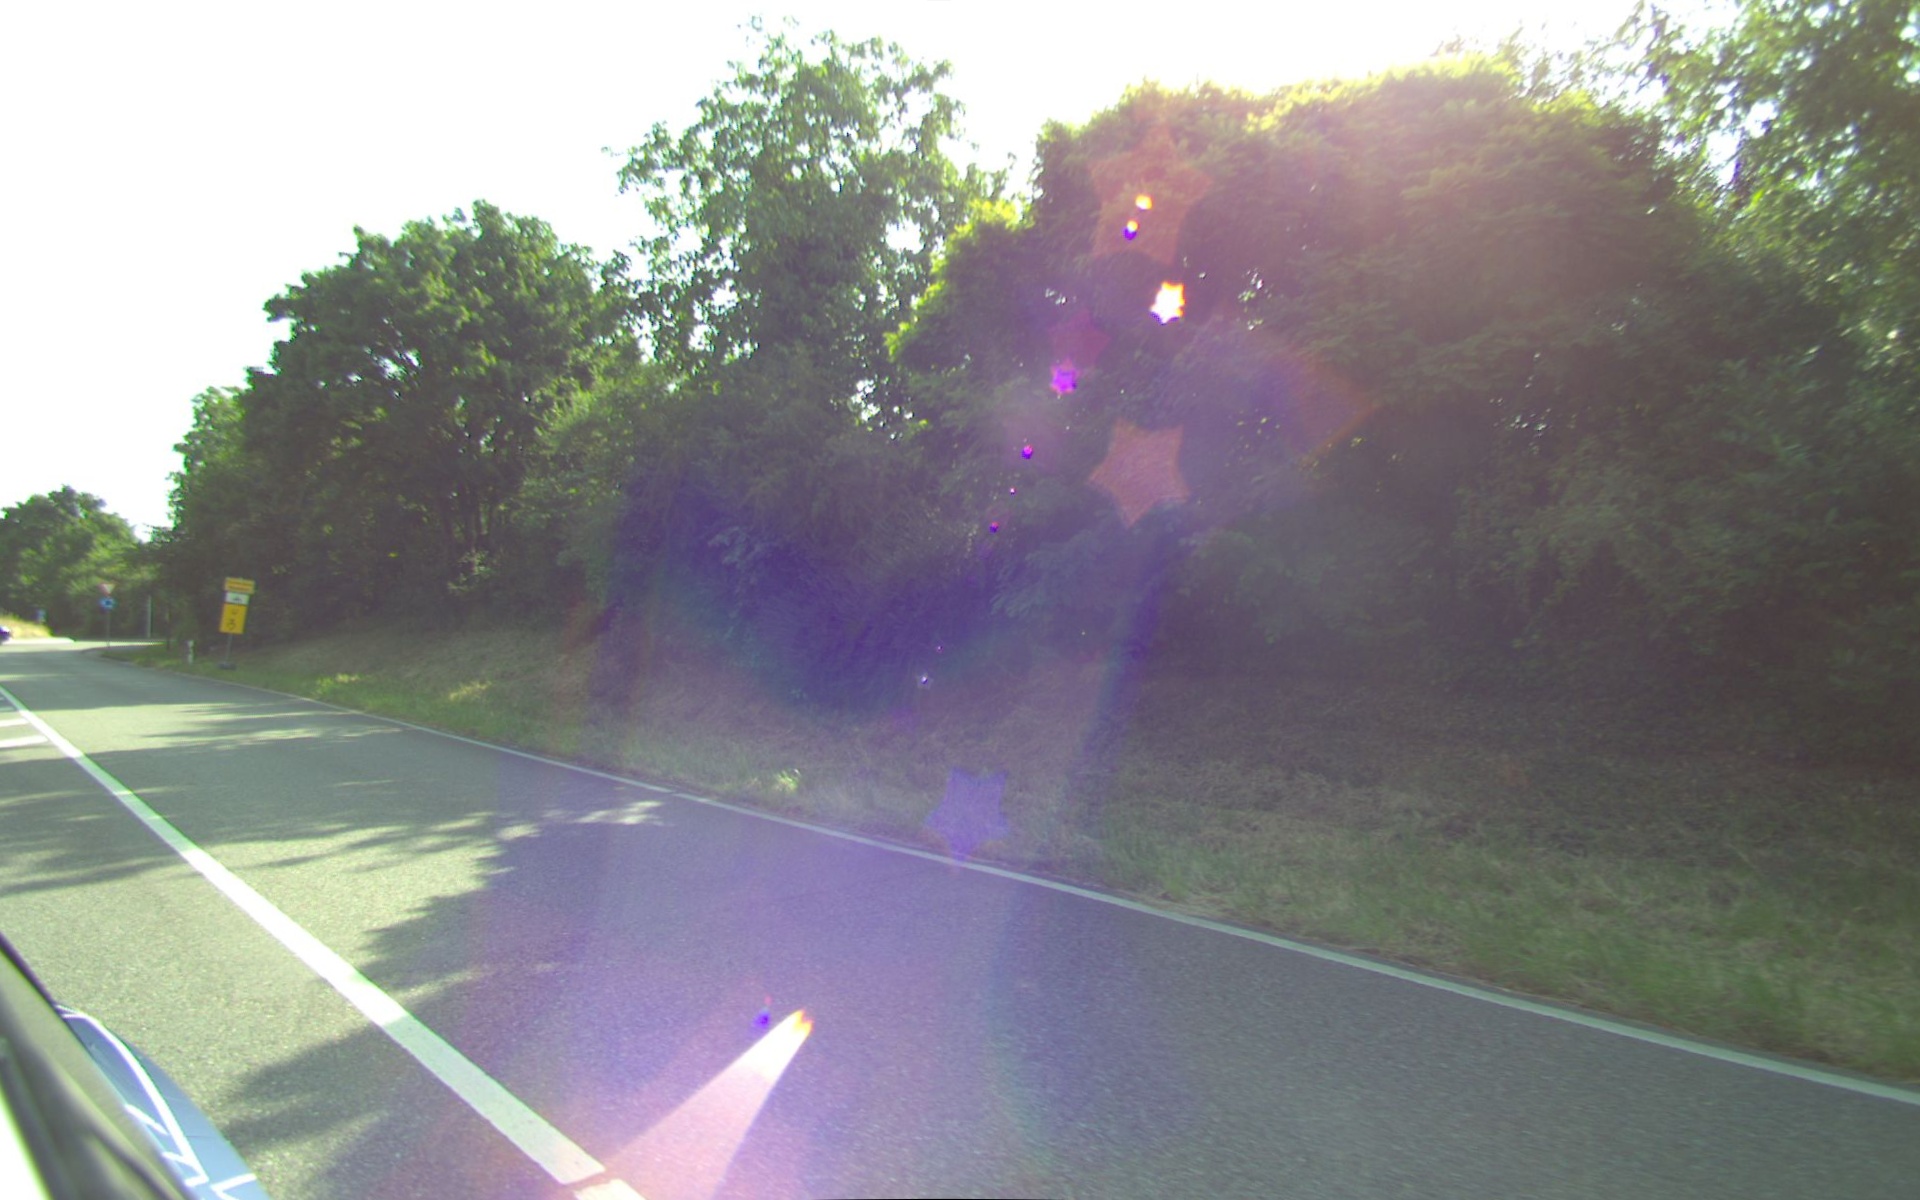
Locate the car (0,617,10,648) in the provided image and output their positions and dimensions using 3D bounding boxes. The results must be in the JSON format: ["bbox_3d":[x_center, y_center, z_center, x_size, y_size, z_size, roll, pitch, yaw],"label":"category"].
[{"bbox_3d":[-52.901,1.706,52.858,1.952,1.614,4.558,-1,-2,41],"label":"car"}]
